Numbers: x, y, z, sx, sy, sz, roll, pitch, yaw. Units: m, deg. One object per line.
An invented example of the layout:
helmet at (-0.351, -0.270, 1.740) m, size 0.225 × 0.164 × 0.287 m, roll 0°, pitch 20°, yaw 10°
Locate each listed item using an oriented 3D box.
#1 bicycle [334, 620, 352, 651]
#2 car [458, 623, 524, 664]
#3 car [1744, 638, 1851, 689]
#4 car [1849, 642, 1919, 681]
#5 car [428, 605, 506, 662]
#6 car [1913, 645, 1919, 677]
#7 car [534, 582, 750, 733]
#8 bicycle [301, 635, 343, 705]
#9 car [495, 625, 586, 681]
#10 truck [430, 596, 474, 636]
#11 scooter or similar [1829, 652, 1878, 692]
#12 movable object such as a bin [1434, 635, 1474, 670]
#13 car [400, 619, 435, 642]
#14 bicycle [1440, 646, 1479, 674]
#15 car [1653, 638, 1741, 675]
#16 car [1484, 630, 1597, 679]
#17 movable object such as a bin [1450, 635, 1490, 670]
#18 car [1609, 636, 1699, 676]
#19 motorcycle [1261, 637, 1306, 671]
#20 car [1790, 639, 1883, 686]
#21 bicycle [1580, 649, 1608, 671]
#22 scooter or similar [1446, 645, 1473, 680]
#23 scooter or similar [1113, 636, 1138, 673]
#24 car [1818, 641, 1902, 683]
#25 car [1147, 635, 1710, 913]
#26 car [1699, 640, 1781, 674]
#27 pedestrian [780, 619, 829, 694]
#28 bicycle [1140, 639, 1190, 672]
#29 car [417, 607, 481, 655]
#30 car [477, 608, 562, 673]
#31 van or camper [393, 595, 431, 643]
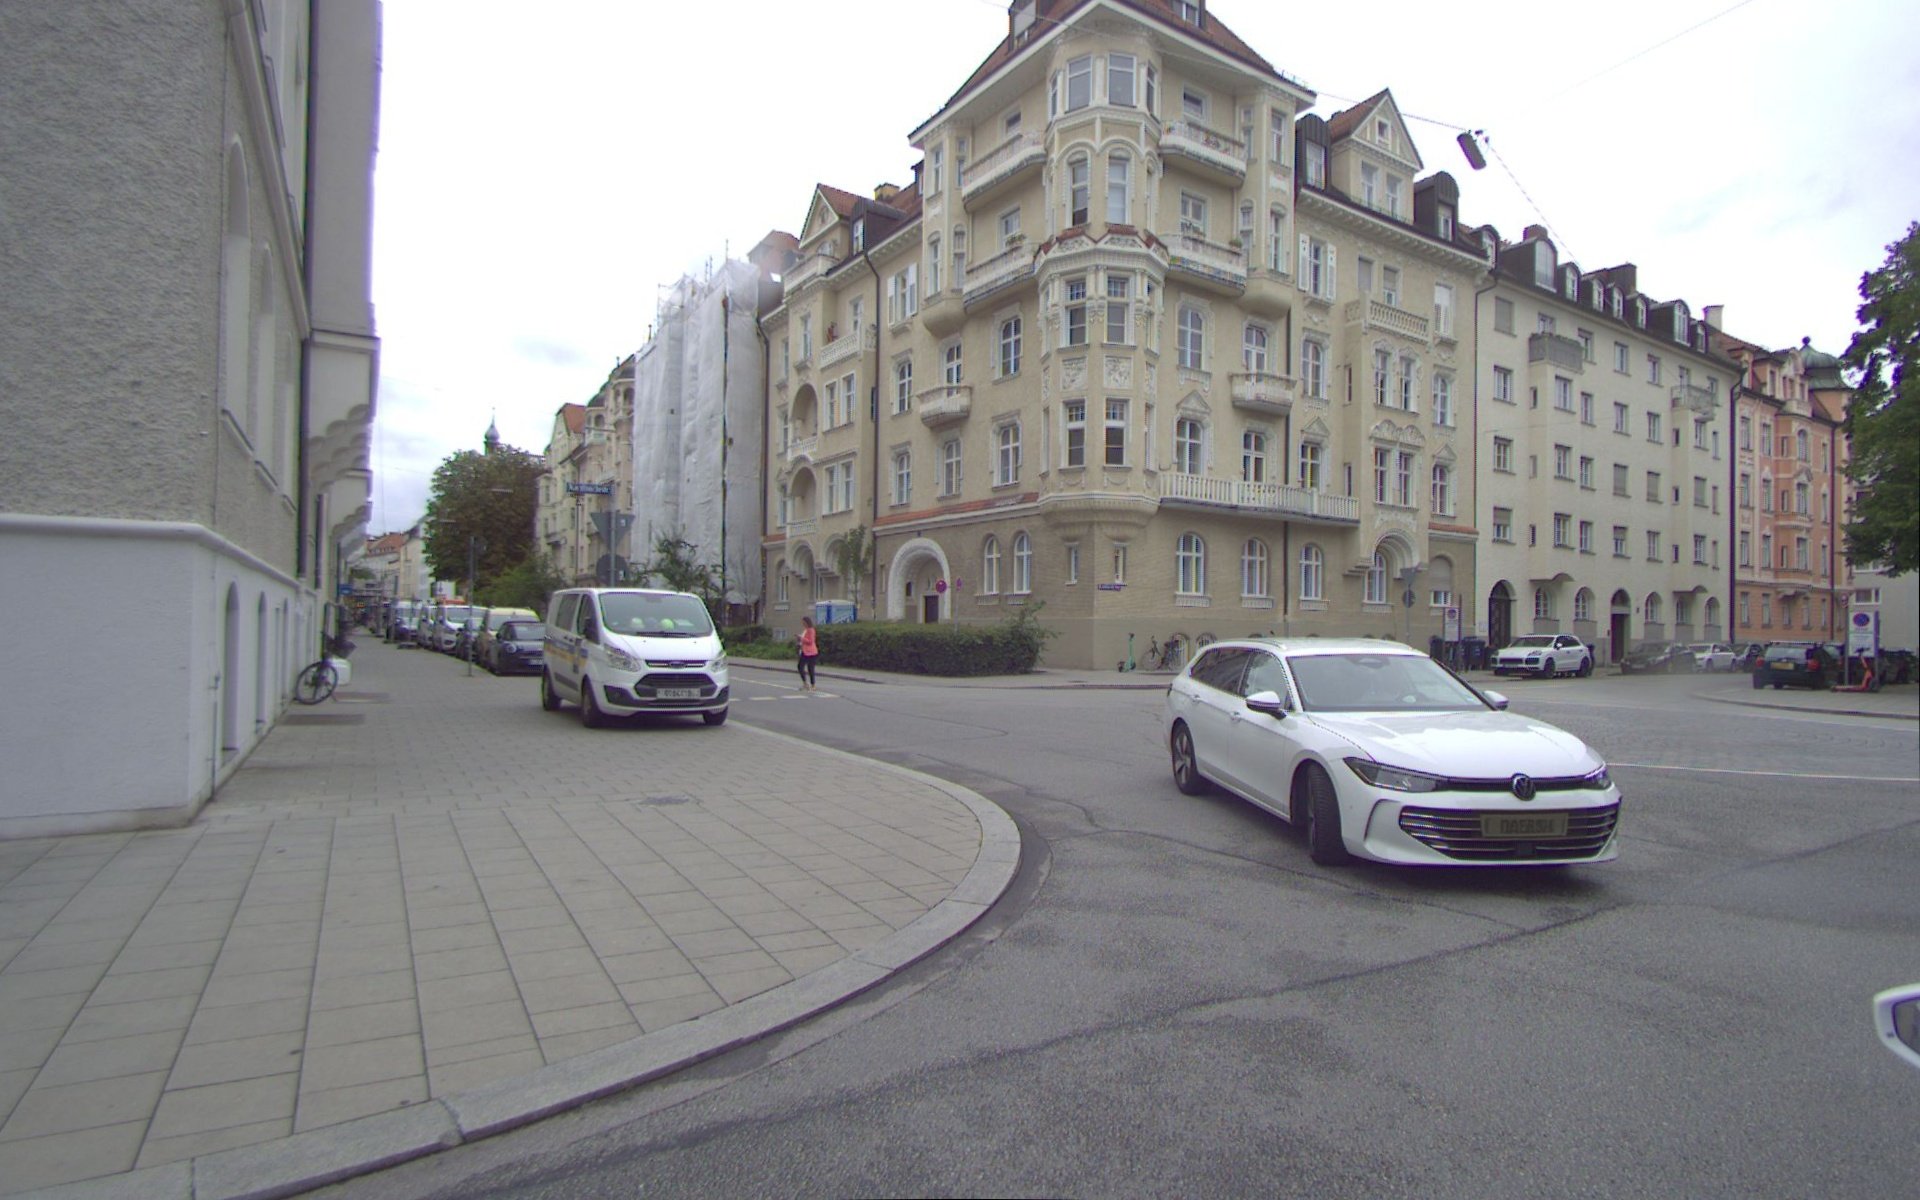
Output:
bicycle at (-21.685, 1.248, 35.334) m, size 0.486 × 1.063 × 1.816 m, roll 1°, pitch -2°, yaw -30°
car at (-16.533, 1.523, 35.336) m, size 1.679 × 1.364 × 3.508 m, roll 2°, pitch -2°, yaw -32°
car at (26.778, 1.979, 32.065) m, size 4.385 × 1.525 × 1.804 m, roll 2°, pitch -3°, yaw -39°
car at (38.736, 2.545, 41.952) m, size 4.080 × 1.525 × 1.779 m, roll 2°, pitch -3°, yaw -39°
car at (-19.862, 1.337, 40.341) m, size 2.103 × 2.119 × 4.776 m, roll 2°, pitch -2°, yaw -35°
car at (47.633, 2.951, 48.429) m, size 4.078 × 1.525 × 1.822 m, roll 2°, pitch -3°, yaw -37°
car at (-5.001, 0.789, 15.300) m, size 1.905 × 1.905 × 4.867 m, roll 2°, pitch -2°, yaw -33°
bicycle at (-10.474, 1.124, 16.523) m, size 0.486 × 1.063 × 1.816 m, roll 1°, pitch -2°, yaw -30°
car at (-11.104, 1.354, 26.455) m, size 1.678 × 1.364 × 3.649 m, roll 2°, pitch -2°, yaw -31°
truck at (-49.788, 1.579, 98.341) m, size 3.155 × 3.671 × 8.658 m, roll 2°, pitch -2°, yaw -31°
scooter or similar at (25.641, 2.063, 28.830) m, size 0.984 × 1.103 × 0.390 m, roll 1°, pitch -1°, yaw 29°
movable object such as a bin at (20.829, 2.220, 42.367) m, size 1.161 × 1.444 × 1.085 m, roll 2°, pitch -2°, yaw -32°
car at (-32.967, 1.835, 60.960) m, size 1.678 × 1.364 × 3.509 m, roll 2°, pitch -2°, yaw -31°
bicycle at (19.533, 2.331, 39.277) m, size 1.812 × 1.063 × 0.559 m, roll 2°, pitch -2°, yaw -35°
car at (35.054, 2.663, 47.734) m, size 4.360 × 1.602 × 1.964 m, roll 2°, pitch -1°, yaw -33°
car at (22.541, 2.086, 38.949) m, size 4.792 × 1.723 × 1.963 m, roll 2°, pitch -1°, yaw -35°
movable object such as a bin at (21.826, 2.247, 43.006) m, size 1.161 × 1.444 × 1.085 m, roll 2°, pitch -2°, yaw -32°
car at (31.095, 2.467, 44.960) m, size 4.670 × 1.637 × 1.961 m, roll 2°, pitch -1°, yaw -38°
motorcycle at (11.789, 1.955, 36.628) m, size 1.812 × 1.191 × 0.594 m, roll 2°, pitch -2°, yaw -35°
car at (30.846, 2.164, 35.330) m, size 4.199 × 1.525 × 1.779 m, roll 2°, pitch -3°, yaw -39°
bicycle at (32.032, 3.031, 50.745) m, size 1.812 × 1.063 × 0.559 m, roll 2°, pitch -2°, yaw -35°
scooter or similar at (18.073, 2.258, 36.356) m, size 0.458 × 1.209 × 1.216 m, roll 1°, pitch -1°, yaw 5°
scooter or similar at (5.288, 1.732, 32.045) m, size 0.459 × 1.130 × 1.215 m, roll 1°, pitch -1°, yaw 24°
car at (34.318, 2.332, 38.279) m, size 4.080 × 1.525 × 1.779 m, roll 2°, pitch -3°, yaw -39°
car at (3.113, 1.062, 8.068) m, size 1.855 × 1.468 × 4.887 m, roll 1°, pitch -1°, yaw -6°
car at (39.297, 2.853, 50.584) m, size 4.360 × 1.602 × 1.964 m, roll 2°, pitch -1°, yaw -33°
pedestrian at (-3.557, 1.281, 22.998) m, size 0.849 × 1.657 × 0.725 m, roll 2°, pitch -2°, yaw -40°
bicycle at (6.826, 1.833, 33.394) m, size 1.812 × 1.063 × 0.559 m, roll 2°, pitch -2°, yaw -35°
car at (-23.168, 1.395, 45.424) m, size 2.102 × 2.020 × 4.779 m, roll 2°, pitch -2°, yaw -33°
car at (-13.717, 1.247, 31.167) m, size 2.003 × 1.863 × 4.104 m, roll 2°, pitch -2°, yaw -29°
van or camper at (-36.308, 1.244, 66.445) m, size 1.977 × 2.952 × 6.386 m, roll 2°, pitch -1°, yaw -30°
